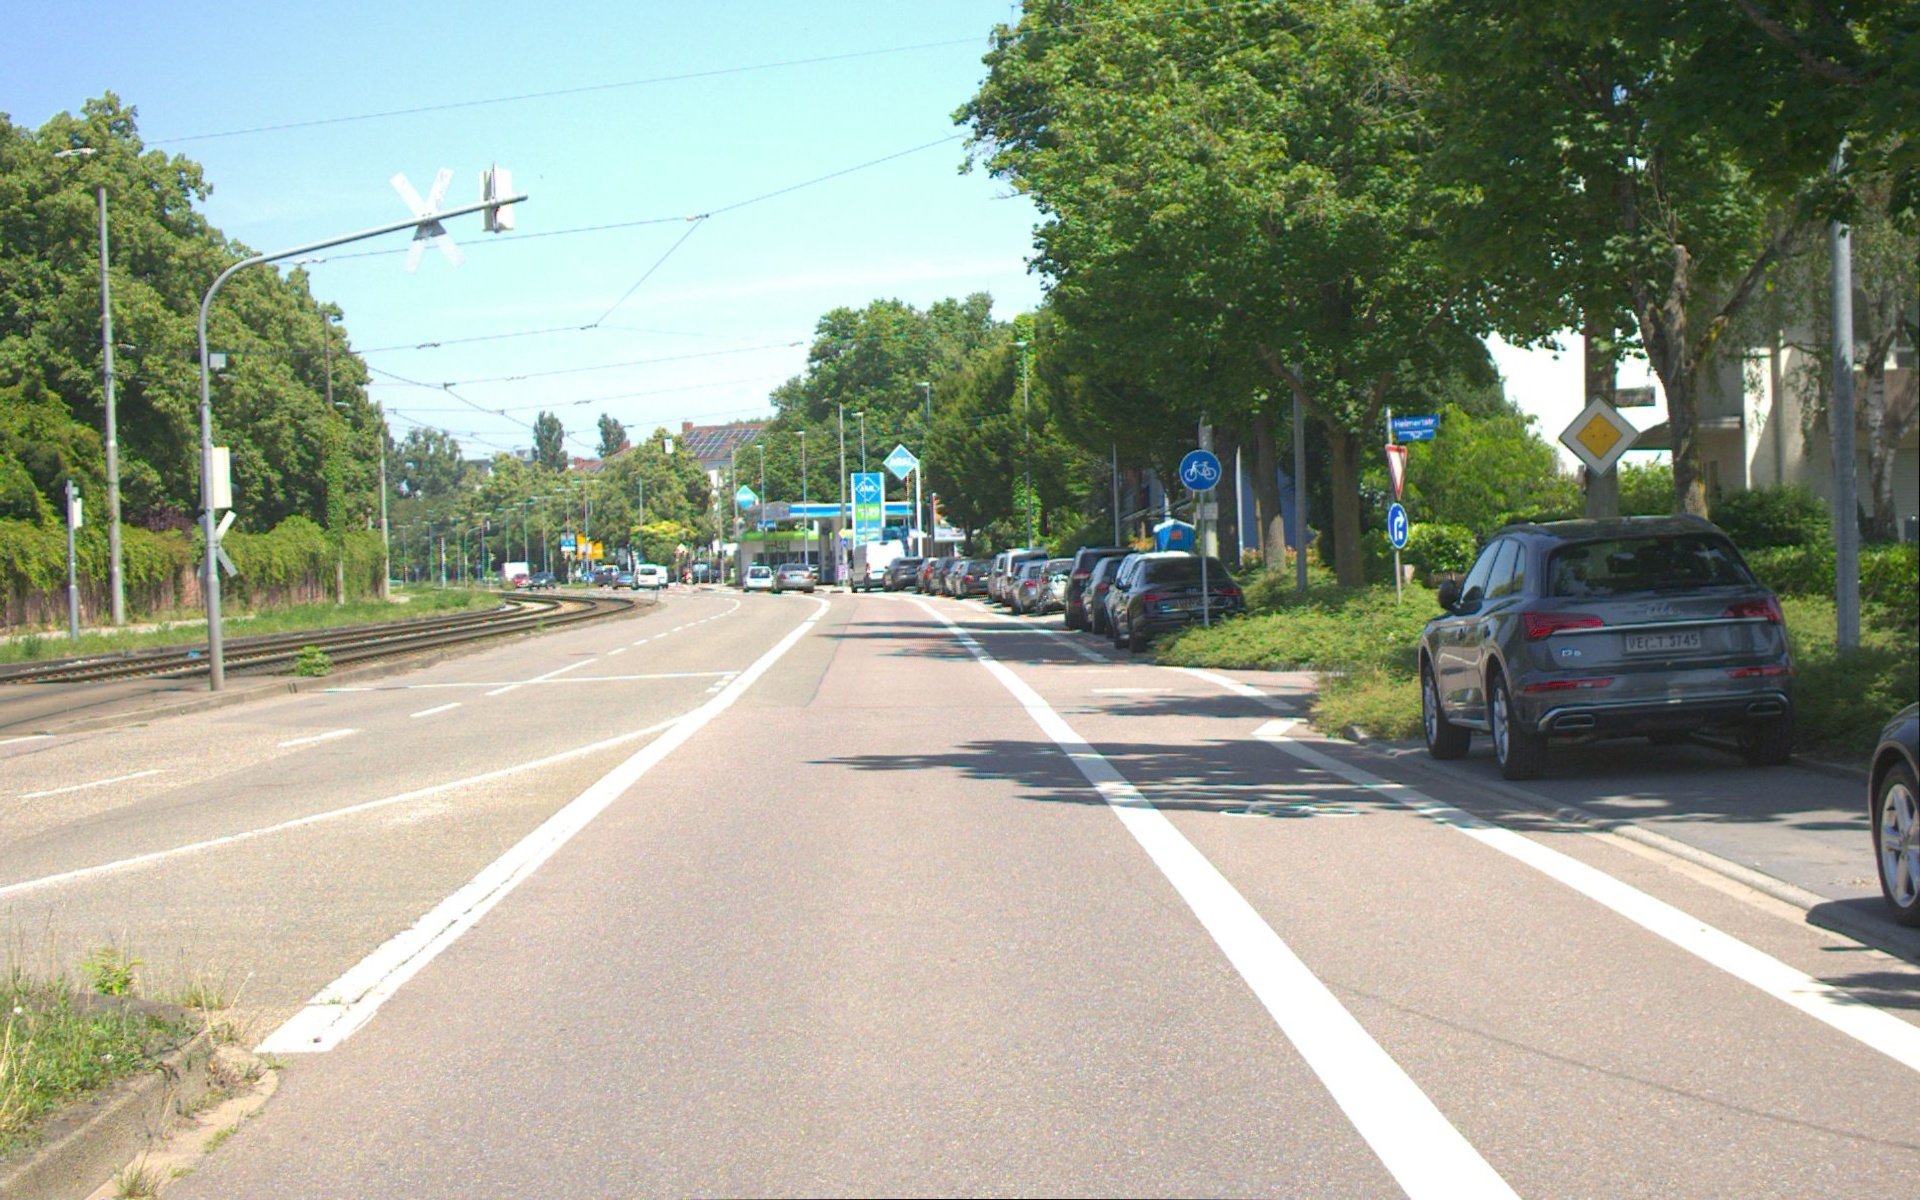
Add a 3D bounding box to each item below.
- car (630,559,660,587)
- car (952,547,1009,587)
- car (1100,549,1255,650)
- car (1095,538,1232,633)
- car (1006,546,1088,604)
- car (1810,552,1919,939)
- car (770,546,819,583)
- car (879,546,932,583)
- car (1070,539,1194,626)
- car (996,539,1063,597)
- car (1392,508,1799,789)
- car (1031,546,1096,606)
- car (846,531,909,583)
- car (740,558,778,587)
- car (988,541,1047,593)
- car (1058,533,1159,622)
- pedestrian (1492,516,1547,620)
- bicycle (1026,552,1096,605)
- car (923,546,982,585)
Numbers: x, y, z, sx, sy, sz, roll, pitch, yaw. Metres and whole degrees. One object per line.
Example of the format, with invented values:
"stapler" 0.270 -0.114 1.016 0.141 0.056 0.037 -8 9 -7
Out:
"car" -23.145 -1.986 252.566 1.755 1.868 4.325 -4 1 -10
"car" 0.803 -1.341 137.668 1.706 1.487 5.039 -4 1 -5
"car" 3.434 -0.047 55.151 1.840 1.431 4.825 -4 1 -3
"car" 3.597 -0.281 61.551 1.840 1.524 4.206 -4 1 -4
"car" 2.491 -0.742 99.671 1.840 1.524 4.967 -4 1 -4
"car" 4.463 0.527 11.623 1.712 1.413 4.709 -4 1 -3
"car" -7.946 -1.705 164.983 1.755 1.625 4.325 -4 1 -9
"car" -2.607 -1.702 164.692 1.755 1.625 4.325 -4 1 -10
"car" 3.319 -0.362 67.115 1.840 1.524 4.354 -4 1 -3
"car" 2.290 -1.099 114.646 1.840 1.788 4.354 -4 1 -3
"car" 4.210 0.287 23.518 1.712 1.627 4.709 -4 0 -1
"car" 2.831 -0.681 94.667 1.519 1.524 3.817 -4 1 -1
"car" -4.222 -2.171 174.782 2.000 2.448 6.111 -4 1 -11
"car" -11.978 -1.630 204.650 1.755 1.625 4.325 -4 1 -9
"car" 2.003 -1.172 120.827 1.840 1.688 4.779 -4 1 -1
"car" 3.108 -0.498 72.748 1.840 1.700 4.626 -4 1 0
"pedestrian" 9.354 -0.540 57.459 0.747 1.716 0.633 -1 1 -7
"bicycle" 2.723 -0.583 92.628 1.774 1.224 0.683 -6 0 3
"car" -0.327 -1.491 148.833 1.706 1.557 4.325 -4 1 -10
